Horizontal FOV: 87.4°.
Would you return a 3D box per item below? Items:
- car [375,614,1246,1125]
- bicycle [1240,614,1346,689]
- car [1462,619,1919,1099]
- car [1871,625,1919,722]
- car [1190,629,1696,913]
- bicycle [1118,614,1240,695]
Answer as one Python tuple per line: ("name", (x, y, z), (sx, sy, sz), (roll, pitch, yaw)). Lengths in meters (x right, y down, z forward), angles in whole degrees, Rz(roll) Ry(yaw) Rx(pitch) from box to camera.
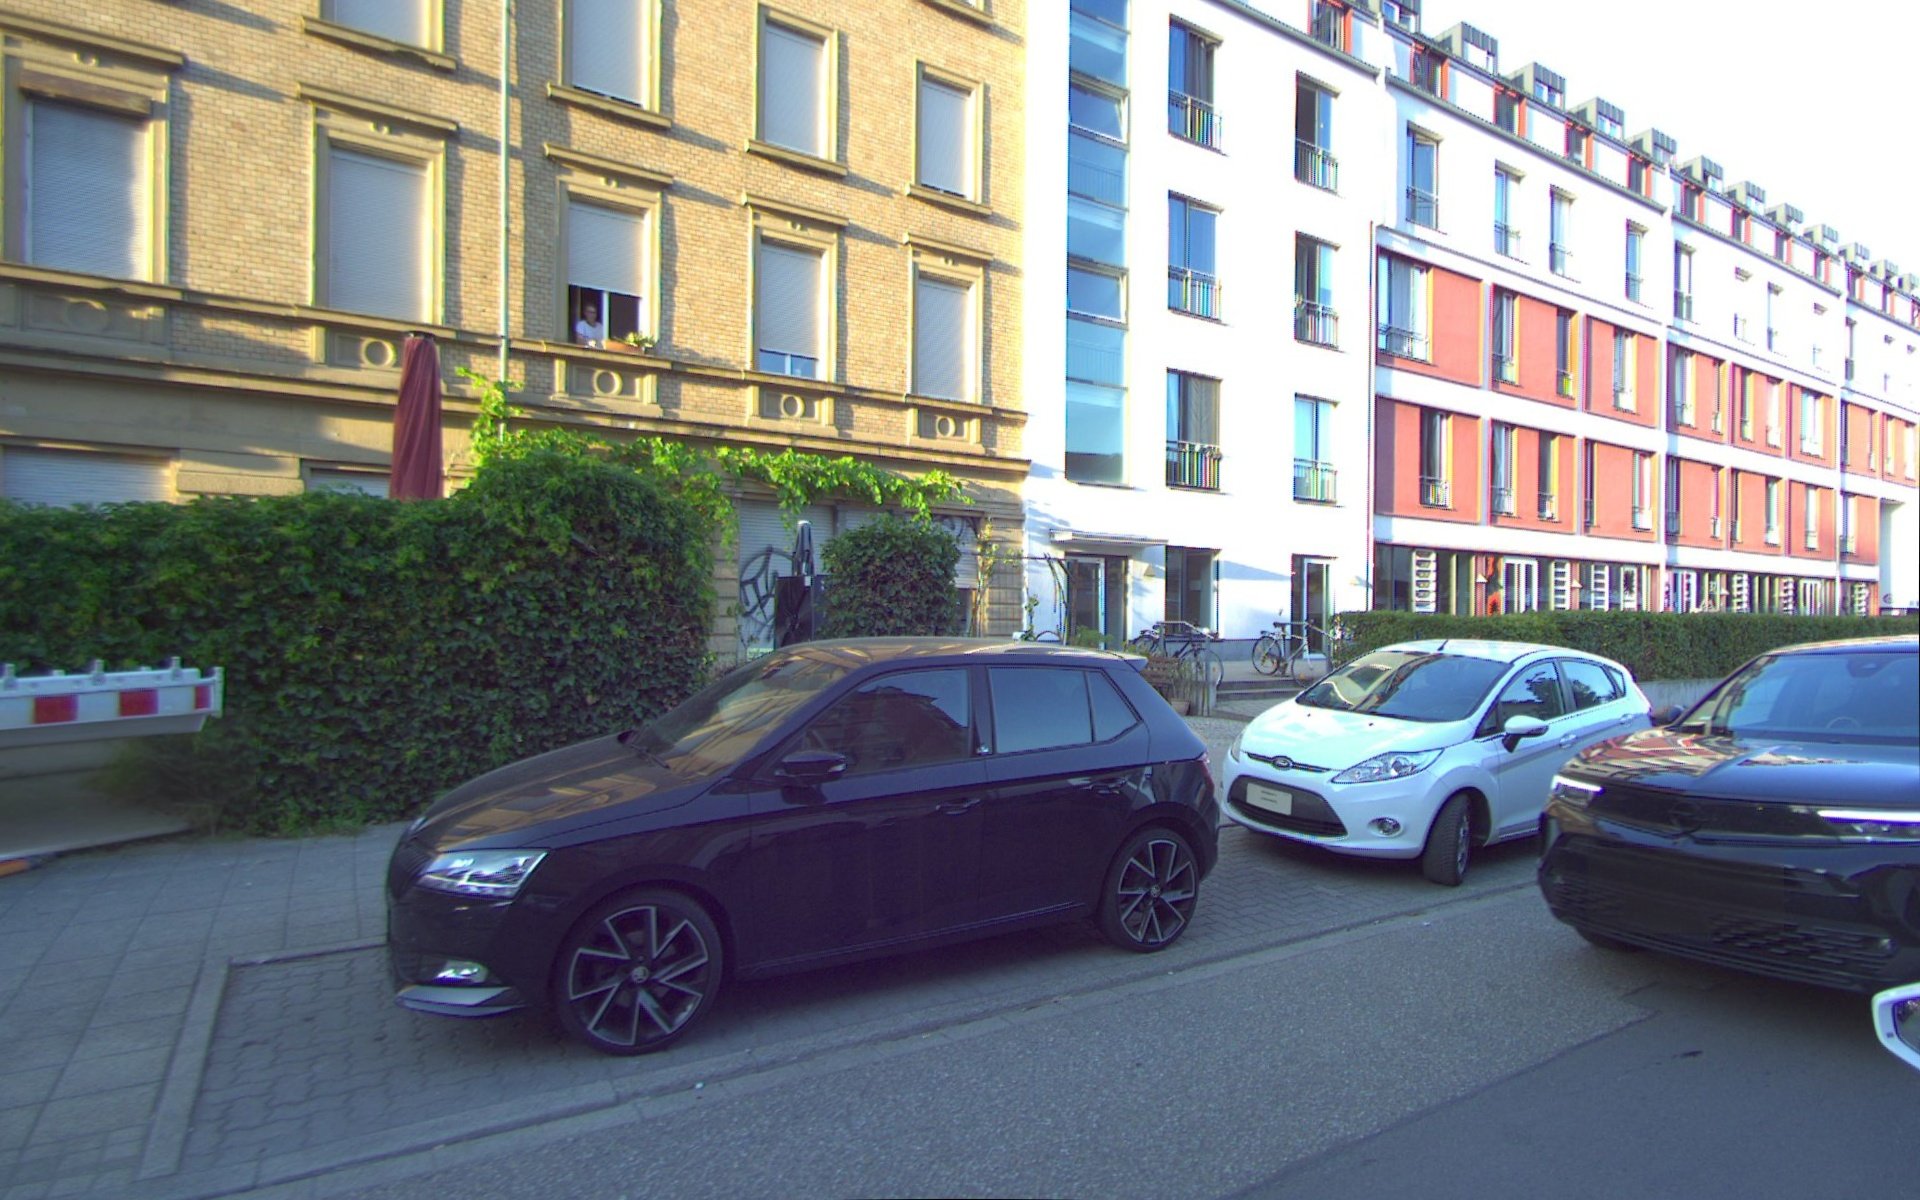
("car", (-0.598, 0.879, 4.841), (3.801, 1.554, 1.694), (1, 0, -32))
("bicycle", (5.686, 0.850, 17.243), (0.603, 1.163, 1.768), (1, 1, -28))
("car", (4.548, 0.889, 4.801), (3.945, 1.537, 1.775), (1, -2, -25))
("car", (16.568, 1.197, 14.623), (1.861, 1.480, 4.586), (1, 1, -34))
("car", (3.704, 1.016, 7.468), (3.976, 1.550, 1.640), (1, 0, -35))
("bicycle", (3.452, 0.829, 15.986), (0.802, 1.157, 1.906), (1, 1, -30))
